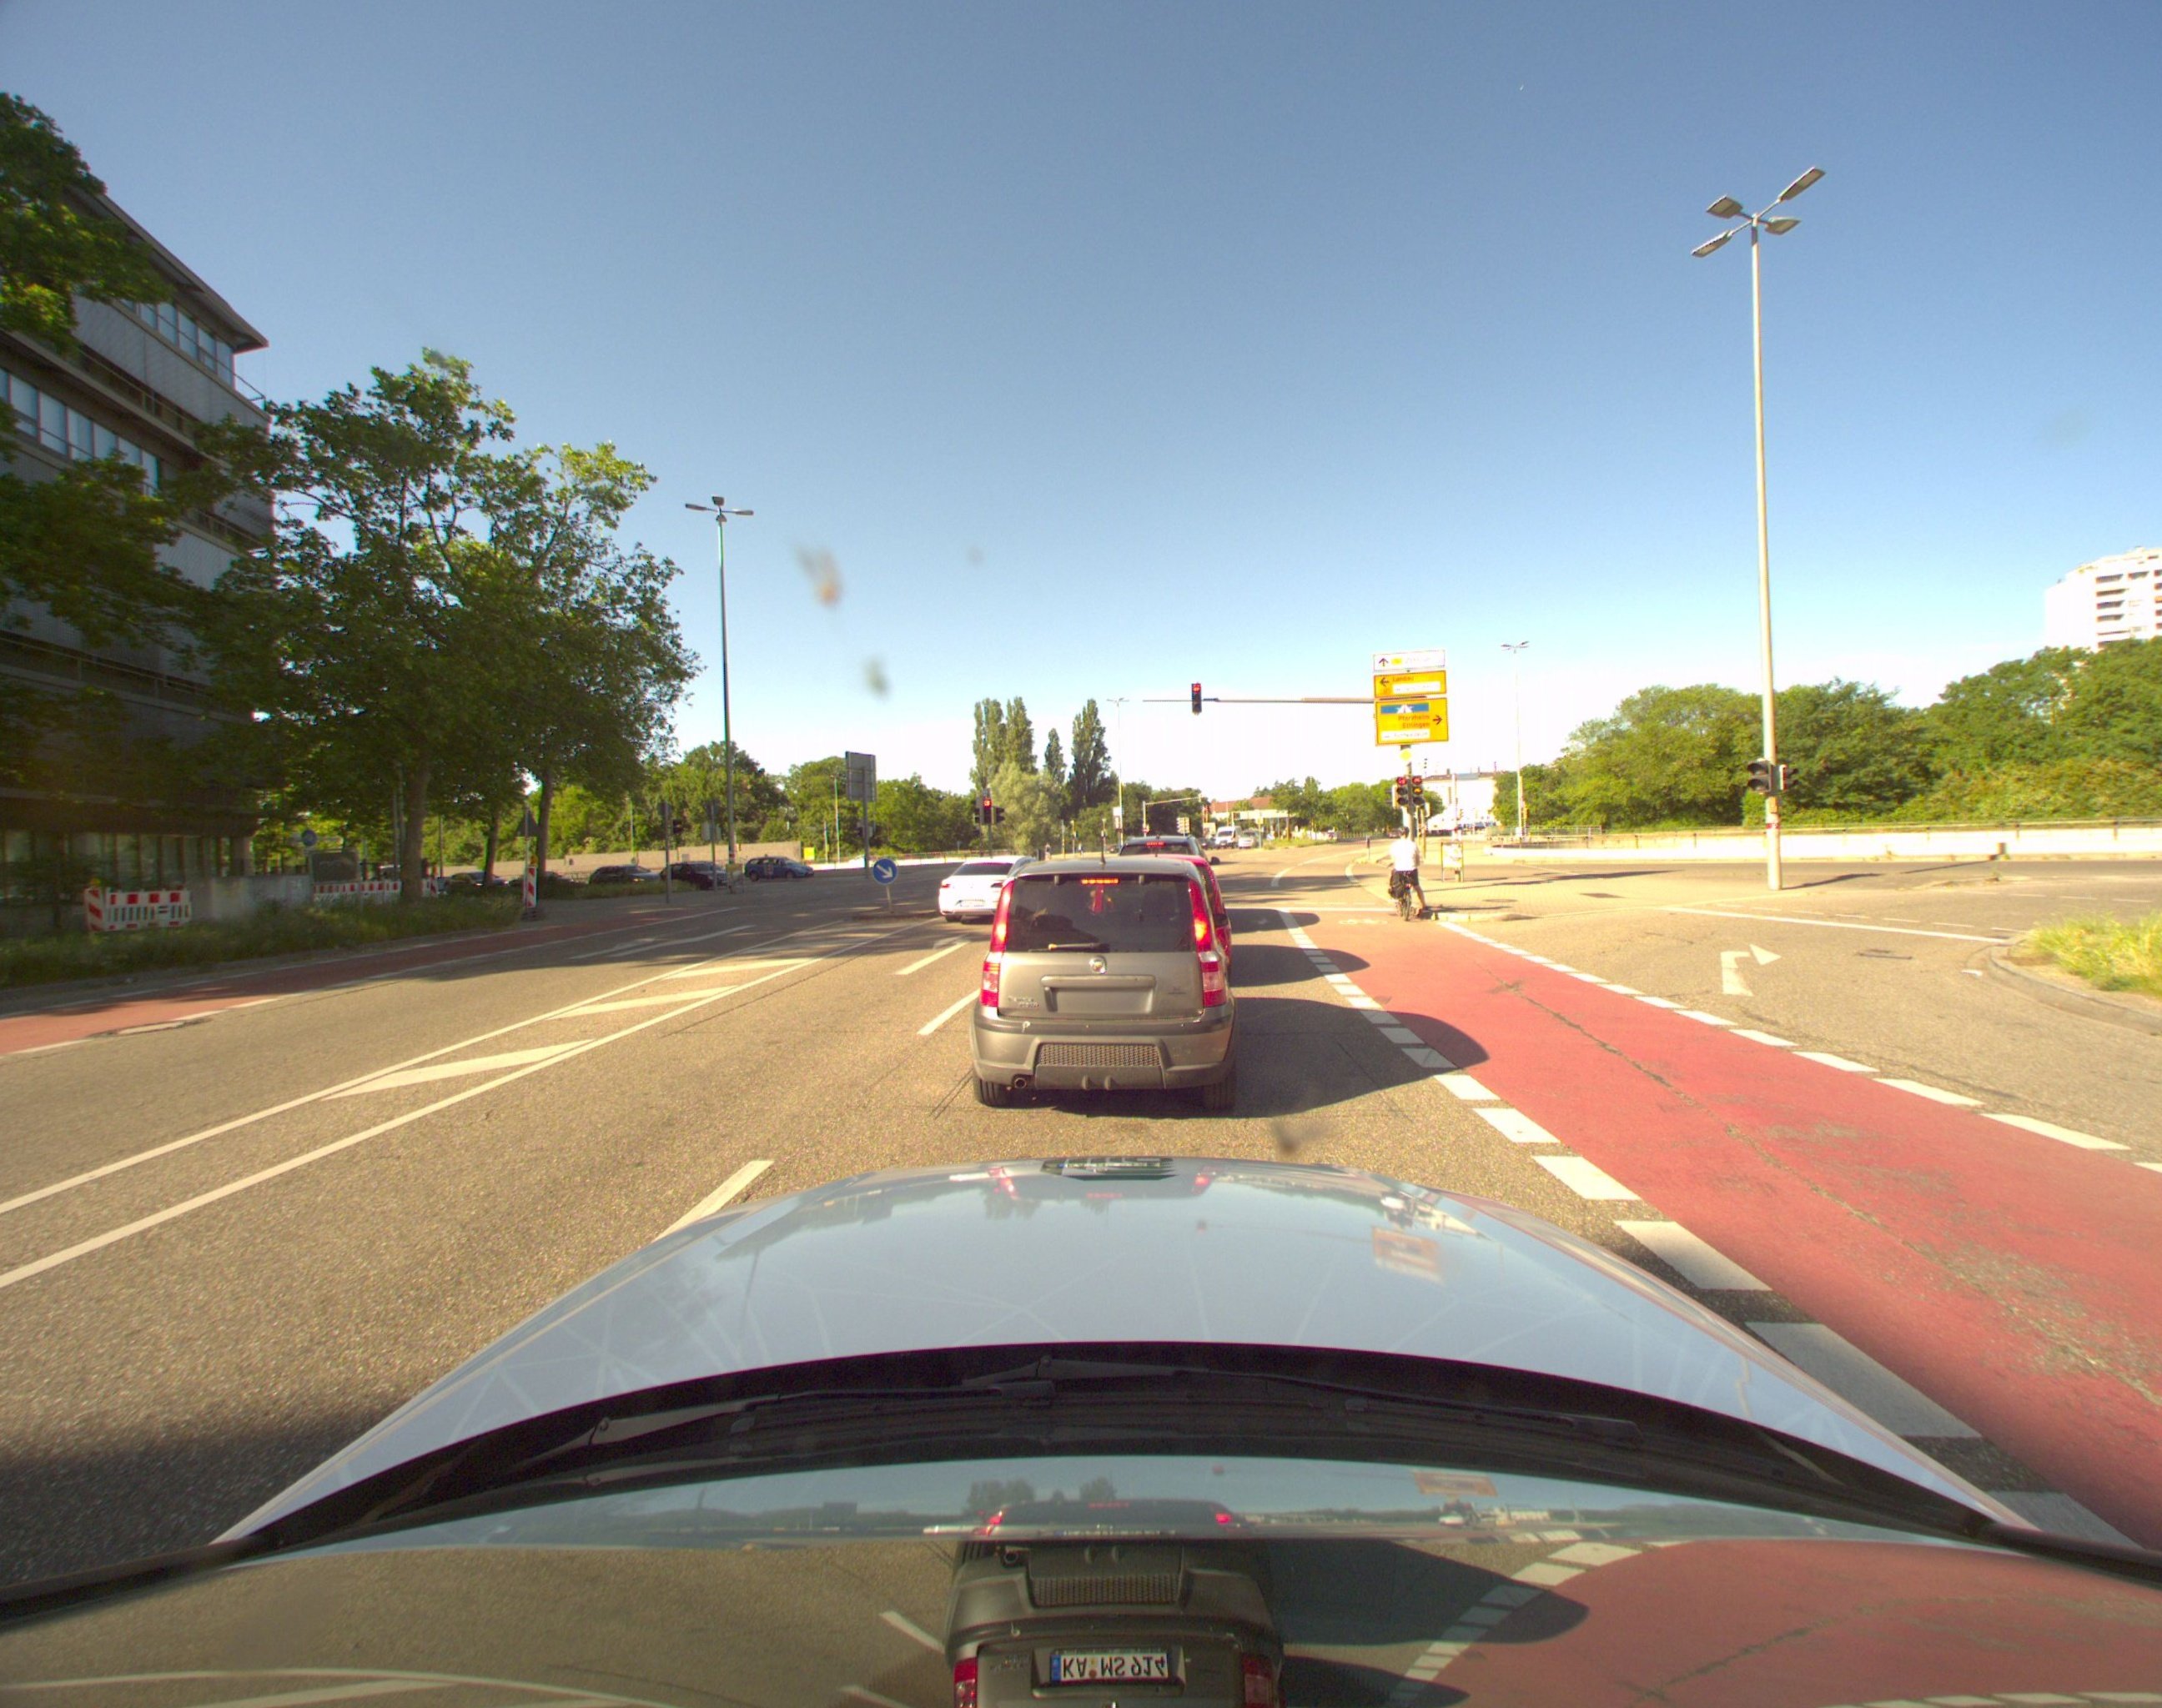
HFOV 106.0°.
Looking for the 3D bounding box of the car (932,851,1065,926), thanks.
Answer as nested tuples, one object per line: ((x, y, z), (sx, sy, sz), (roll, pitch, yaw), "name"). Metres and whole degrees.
((-1.723, 0.701, 18.581), (1.769, 1.415, 4.333), (-1, 1, 11), "car")

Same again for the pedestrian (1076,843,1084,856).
((-0.092, -0.512, 99.310), (0.710, 1.547, 0.725), (-3, -2, -14), "pedestrian")

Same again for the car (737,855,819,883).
((-18.902, 0.961, 50.919), (4.410, 1.540, 1.960), (-2, 1, 15), "car")

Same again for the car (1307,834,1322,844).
((39.592, -2.553, 138.276), (1.920, 1.622, 4.530), (-2, 1, 22), "car")

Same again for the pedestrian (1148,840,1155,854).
((7.822, -0.803, 90.362), (0.557, 1.547, 0.573), (-3, -1, -14), "pedestrian")

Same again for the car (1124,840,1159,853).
((7.628, -0.948, 101.997), (4.351, 1.535, 1.764), (-3, 2, -39), "car")

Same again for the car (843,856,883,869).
((-26.420, 1.034, 98.502), (4.463, 1.382, 1.796), (-1, 1, 23), "car")

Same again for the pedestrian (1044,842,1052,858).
((-3.040, -0.378, 75.124), (0.678, 1.463, 0.702), (-2, 1, -4), "pedestrian")

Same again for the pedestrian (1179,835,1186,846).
((15.801, -2.142, 126.698), (0.782, 1.664, 0.633), (-1, -1, 42), "pedestrian")

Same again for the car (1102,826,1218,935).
((1.713, 0.427, 16.247), (1.933, 1.840, 4.165), (-2, 1, 10), "car")

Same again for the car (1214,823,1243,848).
((16.454, -2.094, 90.567), (1.920, 2.576, 6.122), (-2, 1, 22), "car")

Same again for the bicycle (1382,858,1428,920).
((6.439, 0.670, 16.249), (0.686, 1.102, 1.834), (-1, 1, 17), "bicycle")

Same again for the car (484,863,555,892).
((-35.231, 1.486, 51.078), (4.451, 1.644, 1.892), (-2, 1, 30), "car")

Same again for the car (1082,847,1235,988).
((1.077, 0.687, 10.758), (1.609, 1.463, 3.759), (-2, 1, 7), "car")

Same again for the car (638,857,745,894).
((-19.661, 1.085, 41.166), (4.731, 1.621, 1.961), (-2, 1, 18), "car")

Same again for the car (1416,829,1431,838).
((63.535, -3.835, 151.016), (1.926, 1.528, 4.123), (-2, 1, 30), "car")

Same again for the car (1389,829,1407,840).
((48.849, -3.027, 125.446), (1.926, 1.528, 4.123), (-2, 1, 30), "car")

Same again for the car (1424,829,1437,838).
((68.737, -4.073, 160.108), (1.926, 1.528, 4.123), (-2, 1, 30), "car")

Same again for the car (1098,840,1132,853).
((4.351, -0.890, 104.230), (4.018, 1.625, 1.880), (0, -1, -37), "car")

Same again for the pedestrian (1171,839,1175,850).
((14.384, -1.431, 127.400), (0.494, 1.701, 0.503), (-1, -1, 26), "pedestrian")

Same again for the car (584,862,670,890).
((-24.926, 1.212, 44.677), (4.452, 1.358, 1.892), (-2, 1, 27), "car")

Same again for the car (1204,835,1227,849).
((16.219, -1.473, 98.166), (1.795, 1.541, 4.641), (-3, 1, 21), "car")

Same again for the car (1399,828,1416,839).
((52.666, -3.310, 131.322), (1.926, 1.528, 4.123), (-2, 1, 30), "car")

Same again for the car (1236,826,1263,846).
((17.965, -1.935, 86.579), (1.920, 2.008, 4.958), (-2, 1, 22), "car")

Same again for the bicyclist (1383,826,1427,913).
((6.409, 0.278, 16.147), (0.718, 1.659, 1.118), (-1, 1, 17), "bicyclist")

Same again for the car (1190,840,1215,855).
((13.717, -0.786, 91.617), (1.920, 1.507, 4.020), (-3, 1, 19), "car")

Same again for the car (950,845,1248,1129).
((0.329, 0.737, 6.427), (1.609, 1.515, 3.828), (-2, 1, 7), "car")
